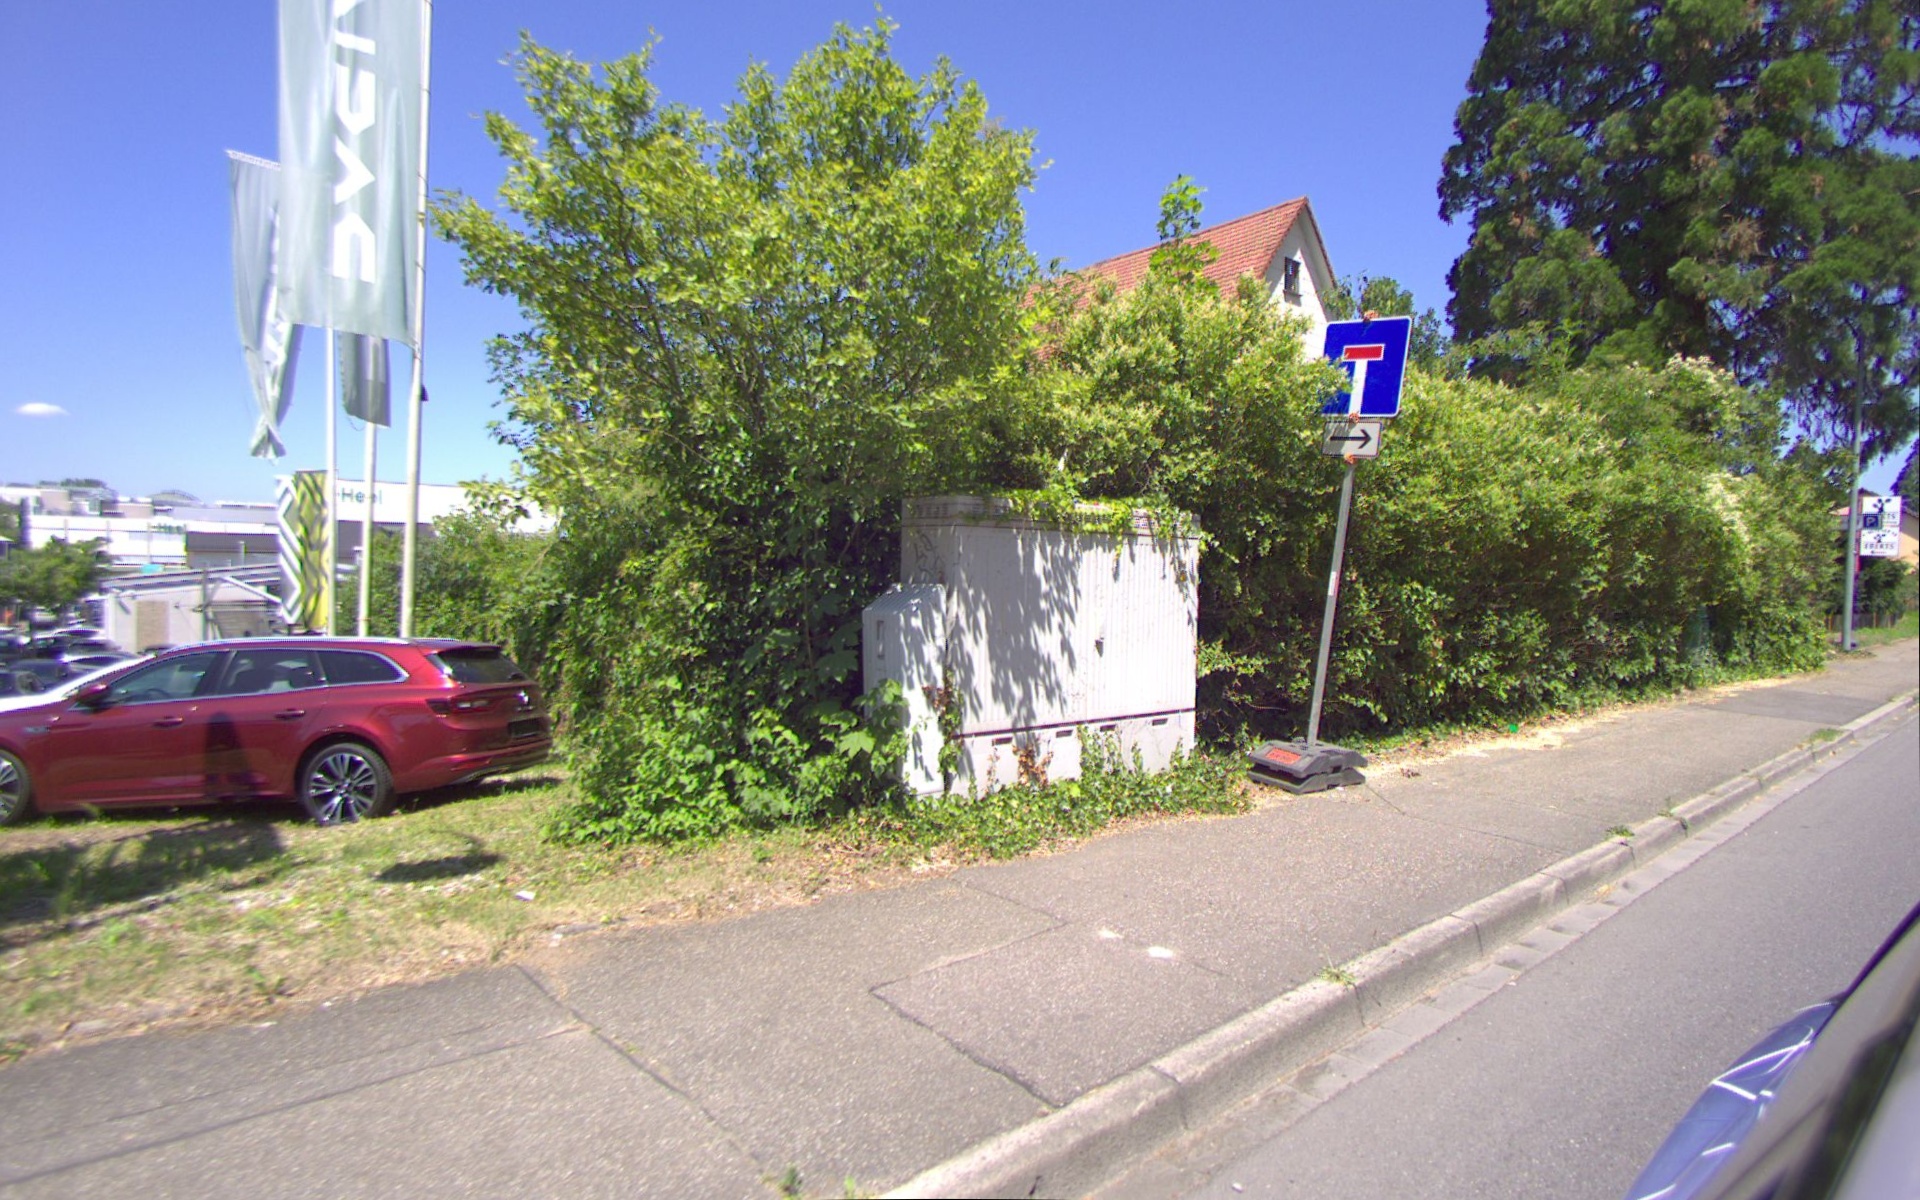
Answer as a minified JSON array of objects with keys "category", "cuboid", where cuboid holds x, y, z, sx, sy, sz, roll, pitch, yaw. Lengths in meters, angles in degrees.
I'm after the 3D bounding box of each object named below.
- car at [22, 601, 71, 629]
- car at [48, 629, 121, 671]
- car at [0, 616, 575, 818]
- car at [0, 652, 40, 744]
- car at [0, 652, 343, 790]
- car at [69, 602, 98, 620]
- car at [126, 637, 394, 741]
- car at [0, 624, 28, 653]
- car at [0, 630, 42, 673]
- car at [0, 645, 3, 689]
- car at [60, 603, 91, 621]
[{"category":"car","cuboid":[-65.286,1.058,72.382,1.848,1.872,4.003,1,0,-32]},{"category":"car","cuboid":[-38.951,2.197,45.123,1.743,1.654,3.871,1,0,-30]},{"category":"car","cuboid":[-5.789,0.957,8.523,4.452,1.381,1.709,-2,-4,1]},{"category":"car","cuboid":[-21.020,2.067,21.710,1.863,1.638,3.991,1,0,-43]},{"category":"car","cuboid":[-10.381,1.450,12.762,1.824,1.511,4.076,-2,-5,44]},{"category":"car","cuboid":[-92.744,1.156,107.152,1.920,1.738,3.535,1,0,-35]},{"category":"car","cuboid":[-11.485,1.476,16.699,3.372,1.528,1.737,6,-6,-41]},{"category":"car","cuboid":[-55.809,2.209,58.800,1.730,1.484,3.925,1,0,-32]},{"category":"car","cuboid":[-41.571,2.193,43.907,1.743,1.654,3.871,1,0,-30]},{"category":"car","cuboid":[-32.079,2.140,30.857,3.921,1.405,1.780,1,0,-33]},{"category":"car","cuboid":[-90.067,1.208,103.076,1.920,1.738,3.535,1,0,-35]}]
